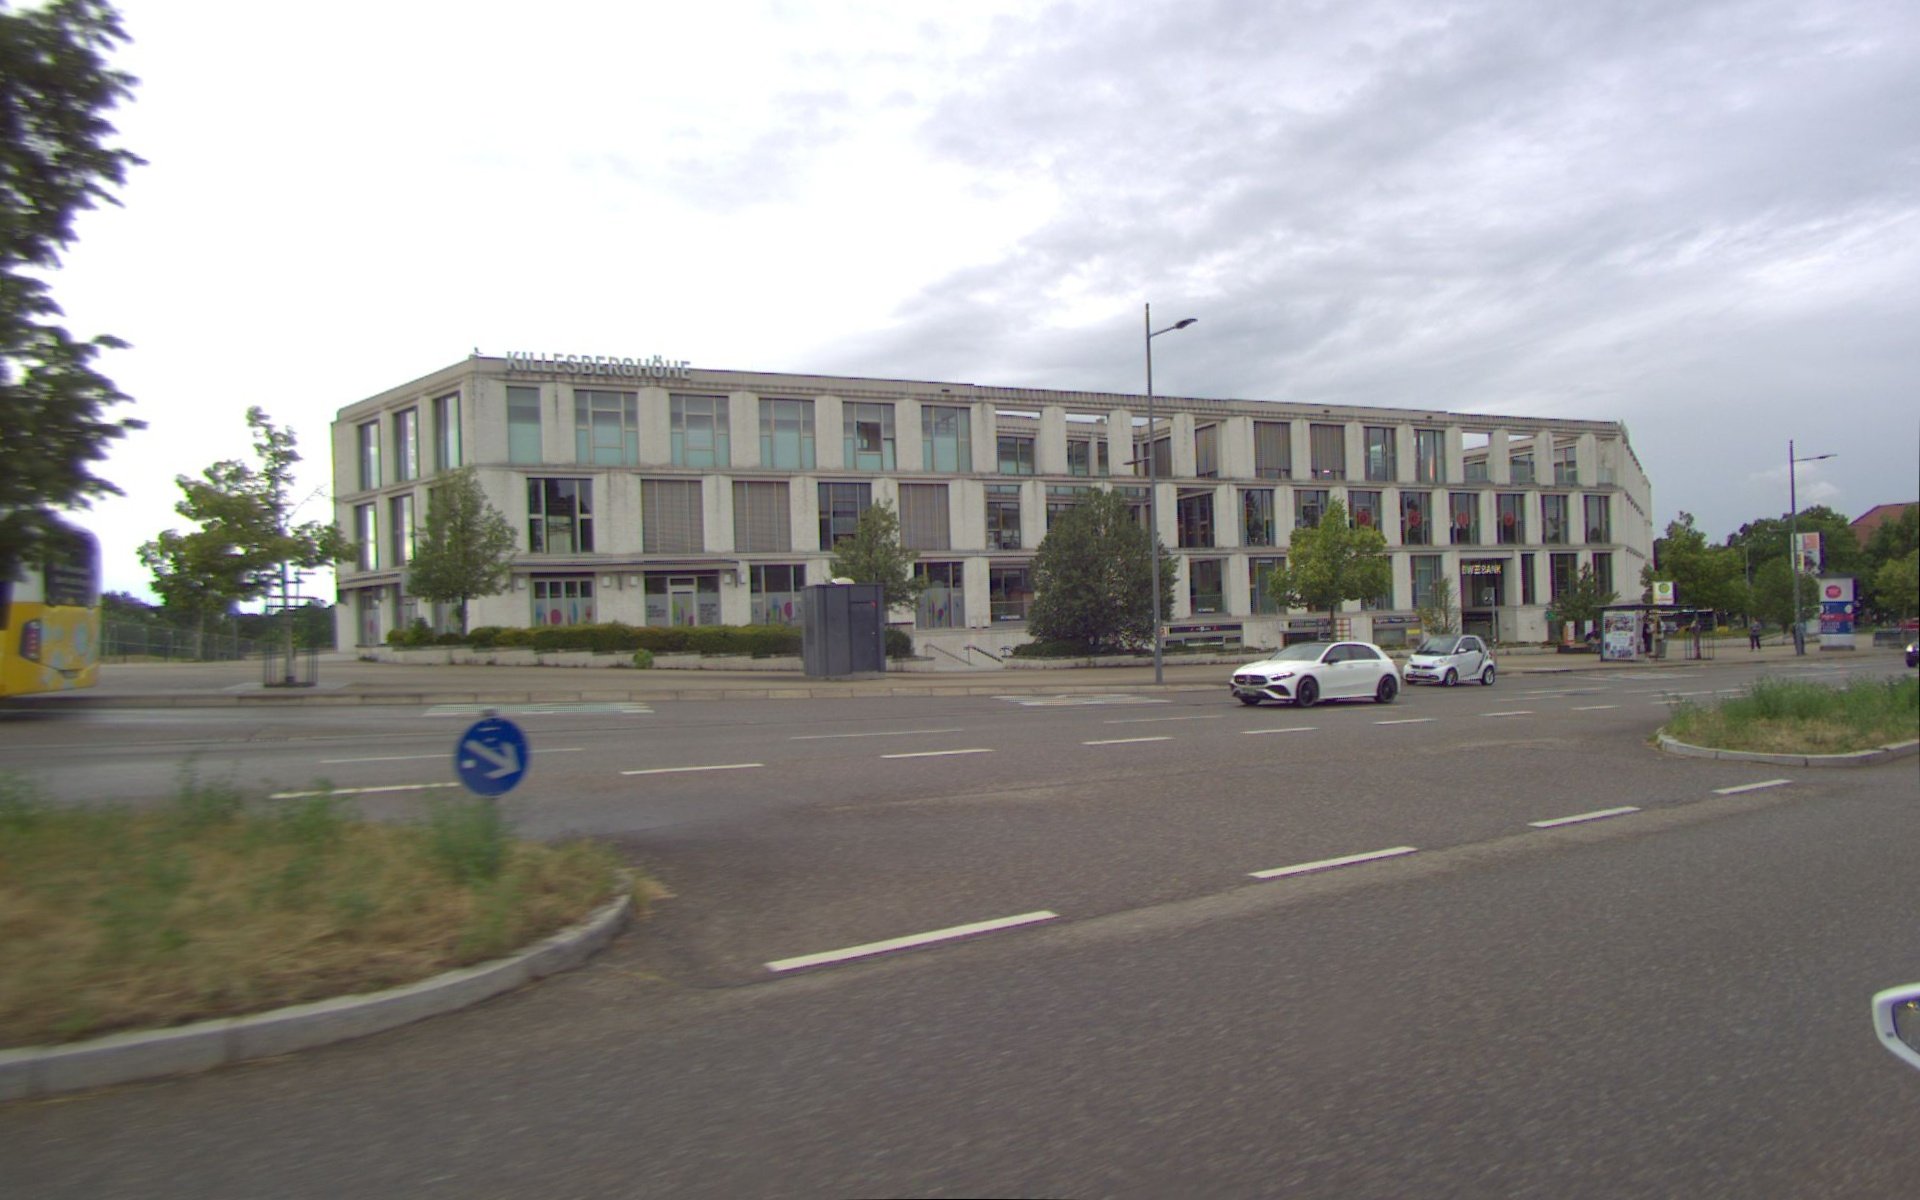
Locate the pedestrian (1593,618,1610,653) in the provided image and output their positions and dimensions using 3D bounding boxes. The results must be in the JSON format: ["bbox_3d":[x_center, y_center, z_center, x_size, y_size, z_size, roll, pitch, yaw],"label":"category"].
[{"bbox_3d":[32.108,1.772,50.262,0.559,1.748,0.522,0,-1,-28],"label":"pedestrian"}]

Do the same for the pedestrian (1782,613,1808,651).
[{"bbox_3d":[41.036,1.560,49.375,0.737,1.866,0.750,0,-1,-28],"label":"pedestrian"}]

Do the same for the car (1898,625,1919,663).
[{"bbox_3d":[39.367,1.766,40.036,3.822,1.481,1.838,1,-3,-30],"label":"car"}]

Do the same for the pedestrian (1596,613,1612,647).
[{"bbox_3d":[33.256,1.534,51.880,0.613,1.748,0.424,0,-1,-30],"label":"pedestrian"}]

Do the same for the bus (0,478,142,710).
[{"bbox_3d":[-18.034,-0.200,15.232,8.114,3.518,2.815,2,-1,-23],"label":"bus"}]

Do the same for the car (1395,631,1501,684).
[{"bbox_3d":[15.201,1.766,31.287,2.937,1.528,1.606,1,-1,-30],"label":"car"}]

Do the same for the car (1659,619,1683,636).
[{"bbox_3d":[74.213,2.857,104.866,1.748,1.754,3.990,-1,-2,32],"label":"car"}]

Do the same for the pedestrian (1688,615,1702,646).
[{"bbox_3d":[40.036,1.662,54.737,0.492,1.712,0.910,-1,-2,43],"label":"pedestrian"}]

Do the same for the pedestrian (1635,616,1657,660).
[{"bbox_3d":[29.483,1.644,43.160,0.747,1.866,0.505,1,-1,-31],"label":"pedestrian"}]

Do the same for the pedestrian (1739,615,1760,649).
[{"bbox_3d":[42.255,1.704,53.763,0.846,1.785,0.596,0,-1,-28],"label":"pedestrian"}]

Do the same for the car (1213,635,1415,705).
[{"bbox_3d":[8.143,1.546,23.040,4.460,1.437,1.984,1,-2,-30],"label":"car"}]
